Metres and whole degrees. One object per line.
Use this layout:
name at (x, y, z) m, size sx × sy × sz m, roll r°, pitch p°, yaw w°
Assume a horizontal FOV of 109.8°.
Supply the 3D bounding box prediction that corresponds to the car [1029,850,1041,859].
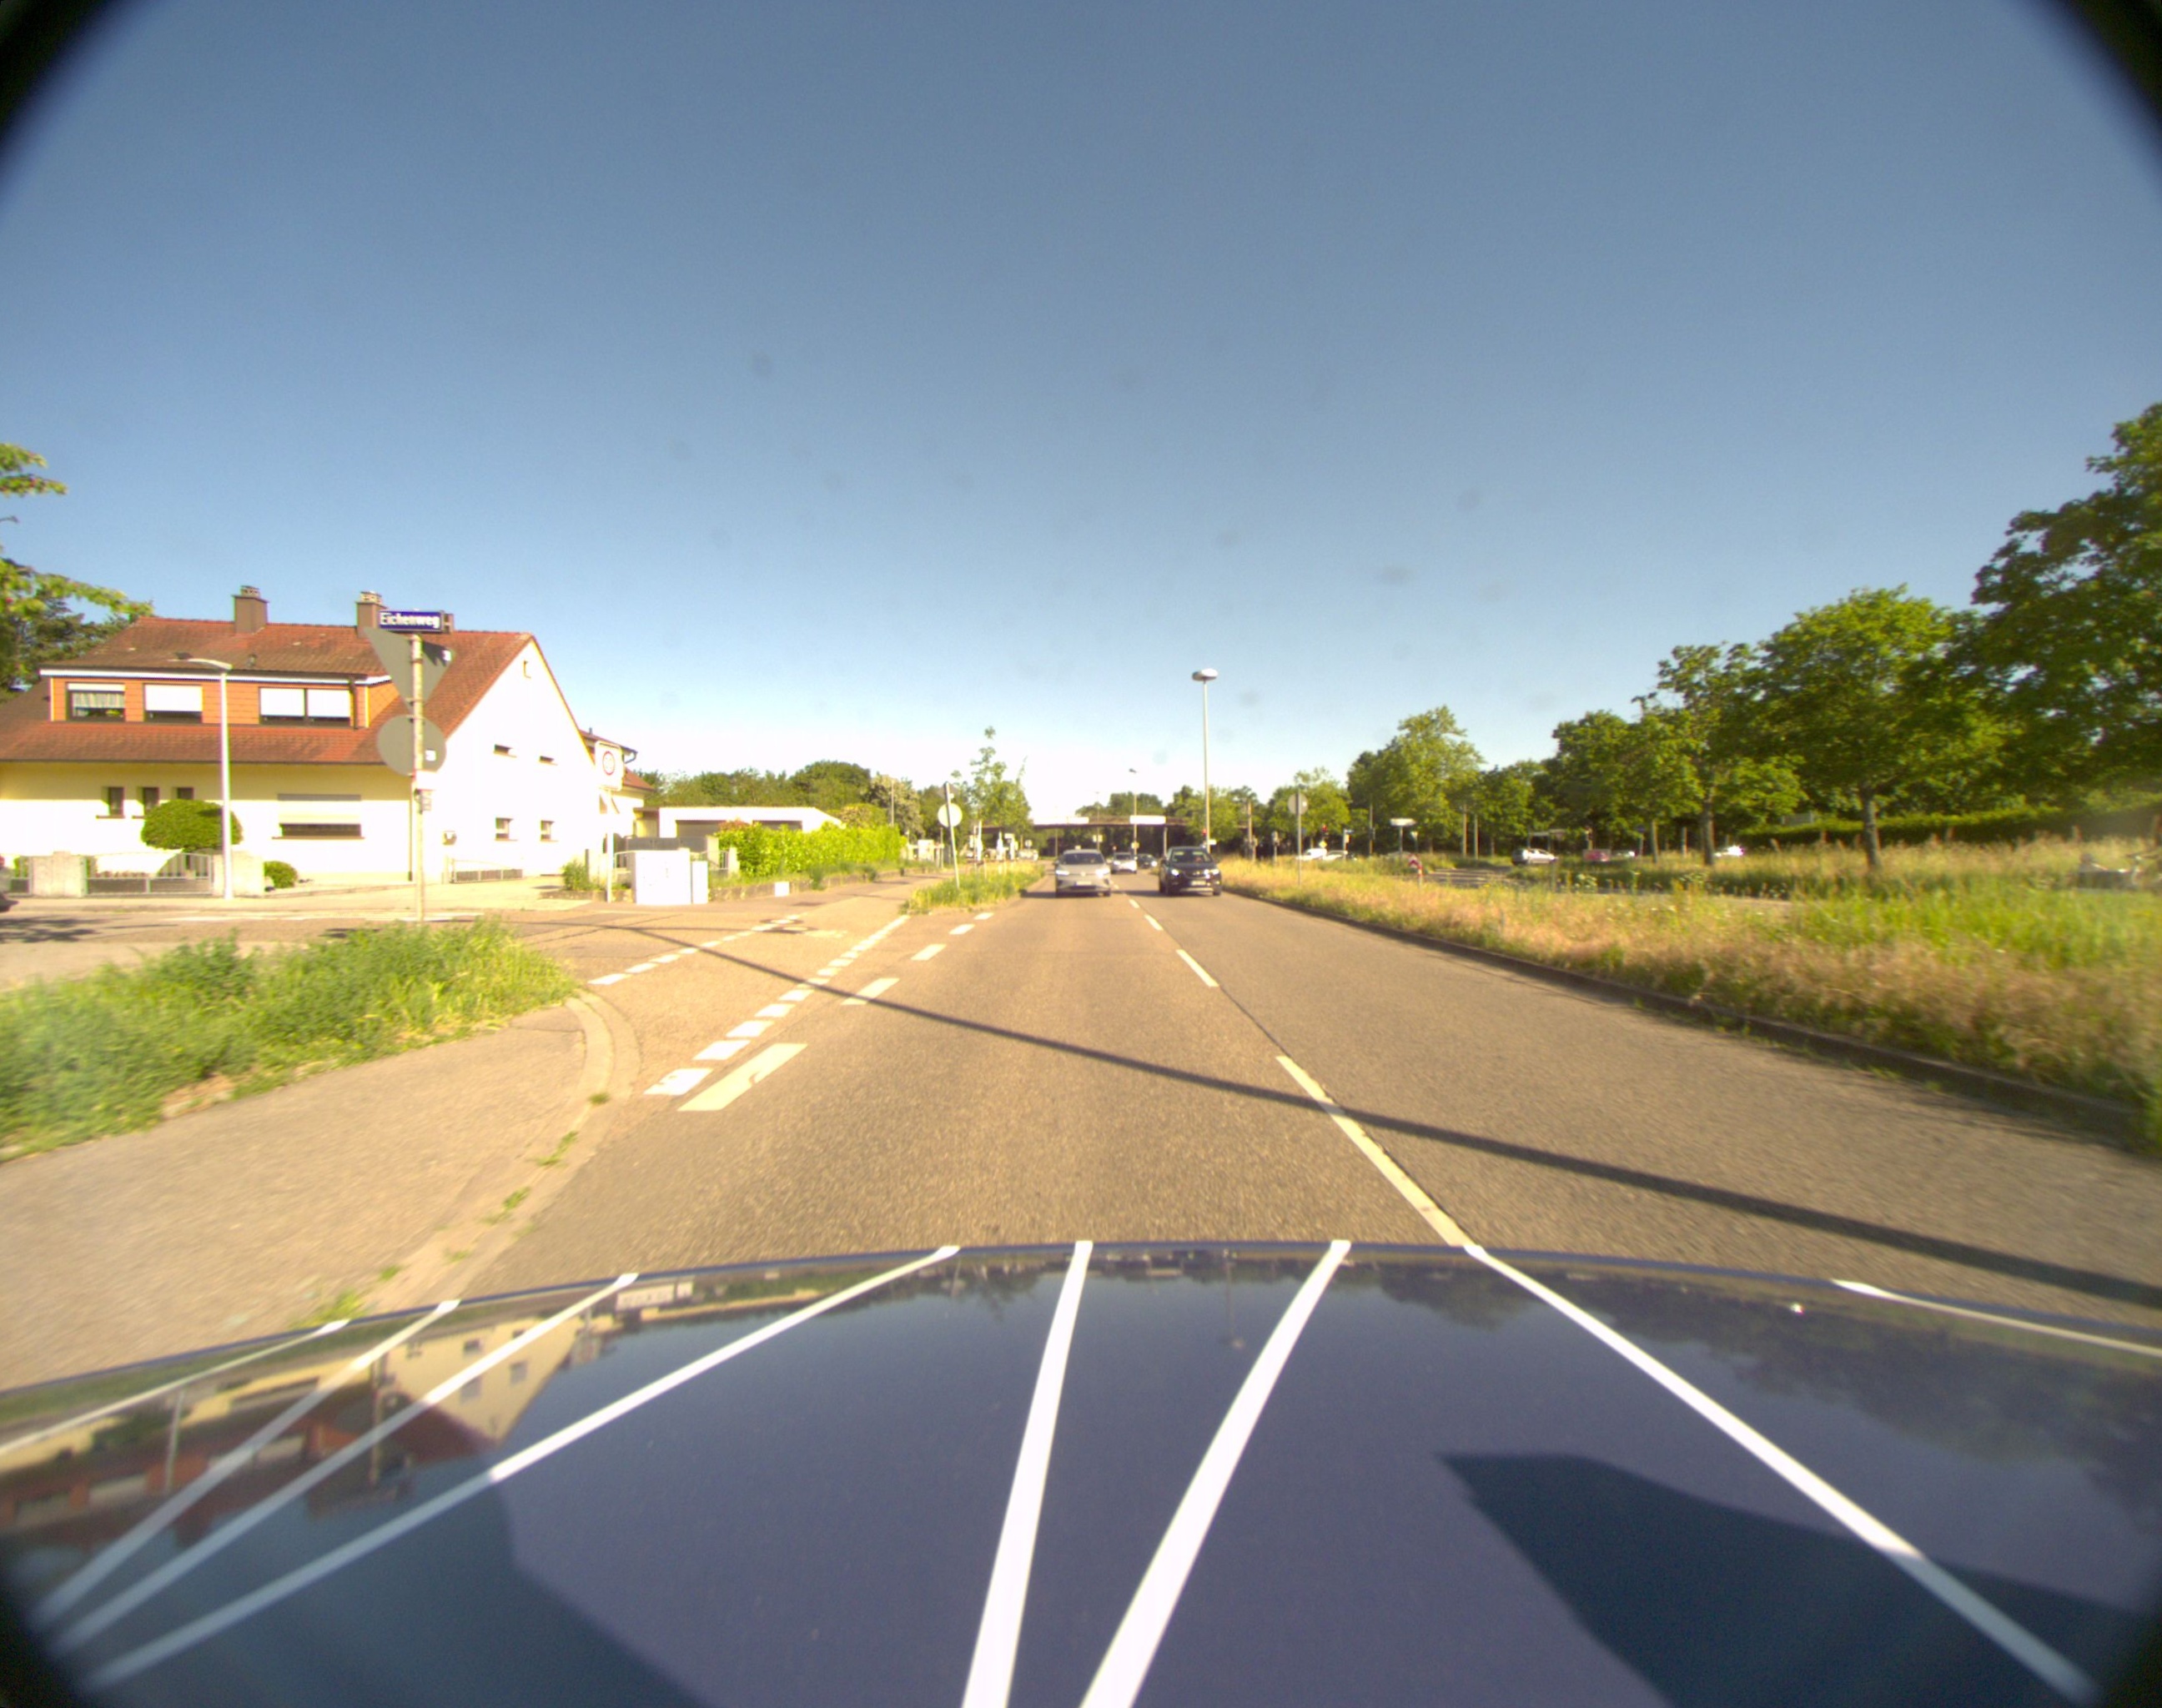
car at (-8.483, 0.103, 139.505) m, size 1.874 × 1.611 × 3.833 m, roll -1°, pitch 1°, yaw -8°

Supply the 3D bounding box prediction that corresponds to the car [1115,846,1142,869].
car at (3.529, 0.230, 56.982) m, size 1.830 × 1.604 × 4.092 m, roll -1°, pitch 1°, yaw 0°

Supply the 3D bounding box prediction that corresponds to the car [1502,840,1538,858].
car at (39.947, -0.492, 69.066) m, size 1.842 × 1.562 × 4.395 m, roll 0°, pitch 1°, yaw 43°

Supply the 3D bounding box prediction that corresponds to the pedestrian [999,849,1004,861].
pedestrian at (-11.199, 0.122, 107.323) m, size 0.589 × 1.652 × 0.716 m, roll 0°, pitch 1°, yaw -9°

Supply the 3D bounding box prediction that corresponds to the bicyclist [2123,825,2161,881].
bicyclist at (24.411, -0.027, 17.292) m, size 0.584 × 1.249 × 0.576 m, roll -1°, pitch 1°, yaw 4°

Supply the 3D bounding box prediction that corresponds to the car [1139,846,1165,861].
car at (7.262, -0.083, 77.515) m, size 1.793 × 1.487 × 4.006 m, roll 0°, pitch 1°, yaw 17°

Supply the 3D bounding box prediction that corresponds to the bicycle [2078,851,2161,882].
bicycle at (24.428, 0.280, 17.492) m, size 0.566 × 0.691 × 1.875 m, roll -1°, pitch 0°, yaw 4°

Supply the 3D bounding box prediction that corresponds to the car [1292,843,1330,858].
car at (27.272, -0.382, 90.098) m, size 4.000 × 1.744 × 1.776 m, roll -1°, pitch 1°, yaw -8°

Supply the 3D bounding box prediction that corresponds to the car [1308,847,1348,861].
car at (28.266, 0.009, 86.972) m, size 3.925 × 1.551 × 1.851 m, roll -1°, pitch 1°, yaw -8°

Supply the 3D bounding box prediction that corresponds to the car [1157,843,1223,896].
car at (3.643, 0.470, 25.878) m, size 1.714 × 1.653 × 3.856 m, roll 0°, pitch 1°, yaw 0°

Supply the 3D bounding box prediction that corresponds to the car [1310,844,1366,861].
car at (23.018, -0.141, 68.022) m, size 4.532 × 1.478 × 1.777 m, roll -1°, pitch 1°, yaw -16°

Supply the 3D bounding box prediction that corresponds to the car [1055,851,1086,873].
car at (-0.872, 0.621, 60.315) m, size 1.874 × 1.611 × 3.833 m, roll -1°, pitch 0°, yaw -8°

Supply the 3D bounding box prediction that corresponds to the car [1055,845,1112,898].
car at (0.145, 0.571, 26.977) m, size 1.801 × 1.664 × 4.240 m, roll -2°, pitch 0°, yaw 2°
